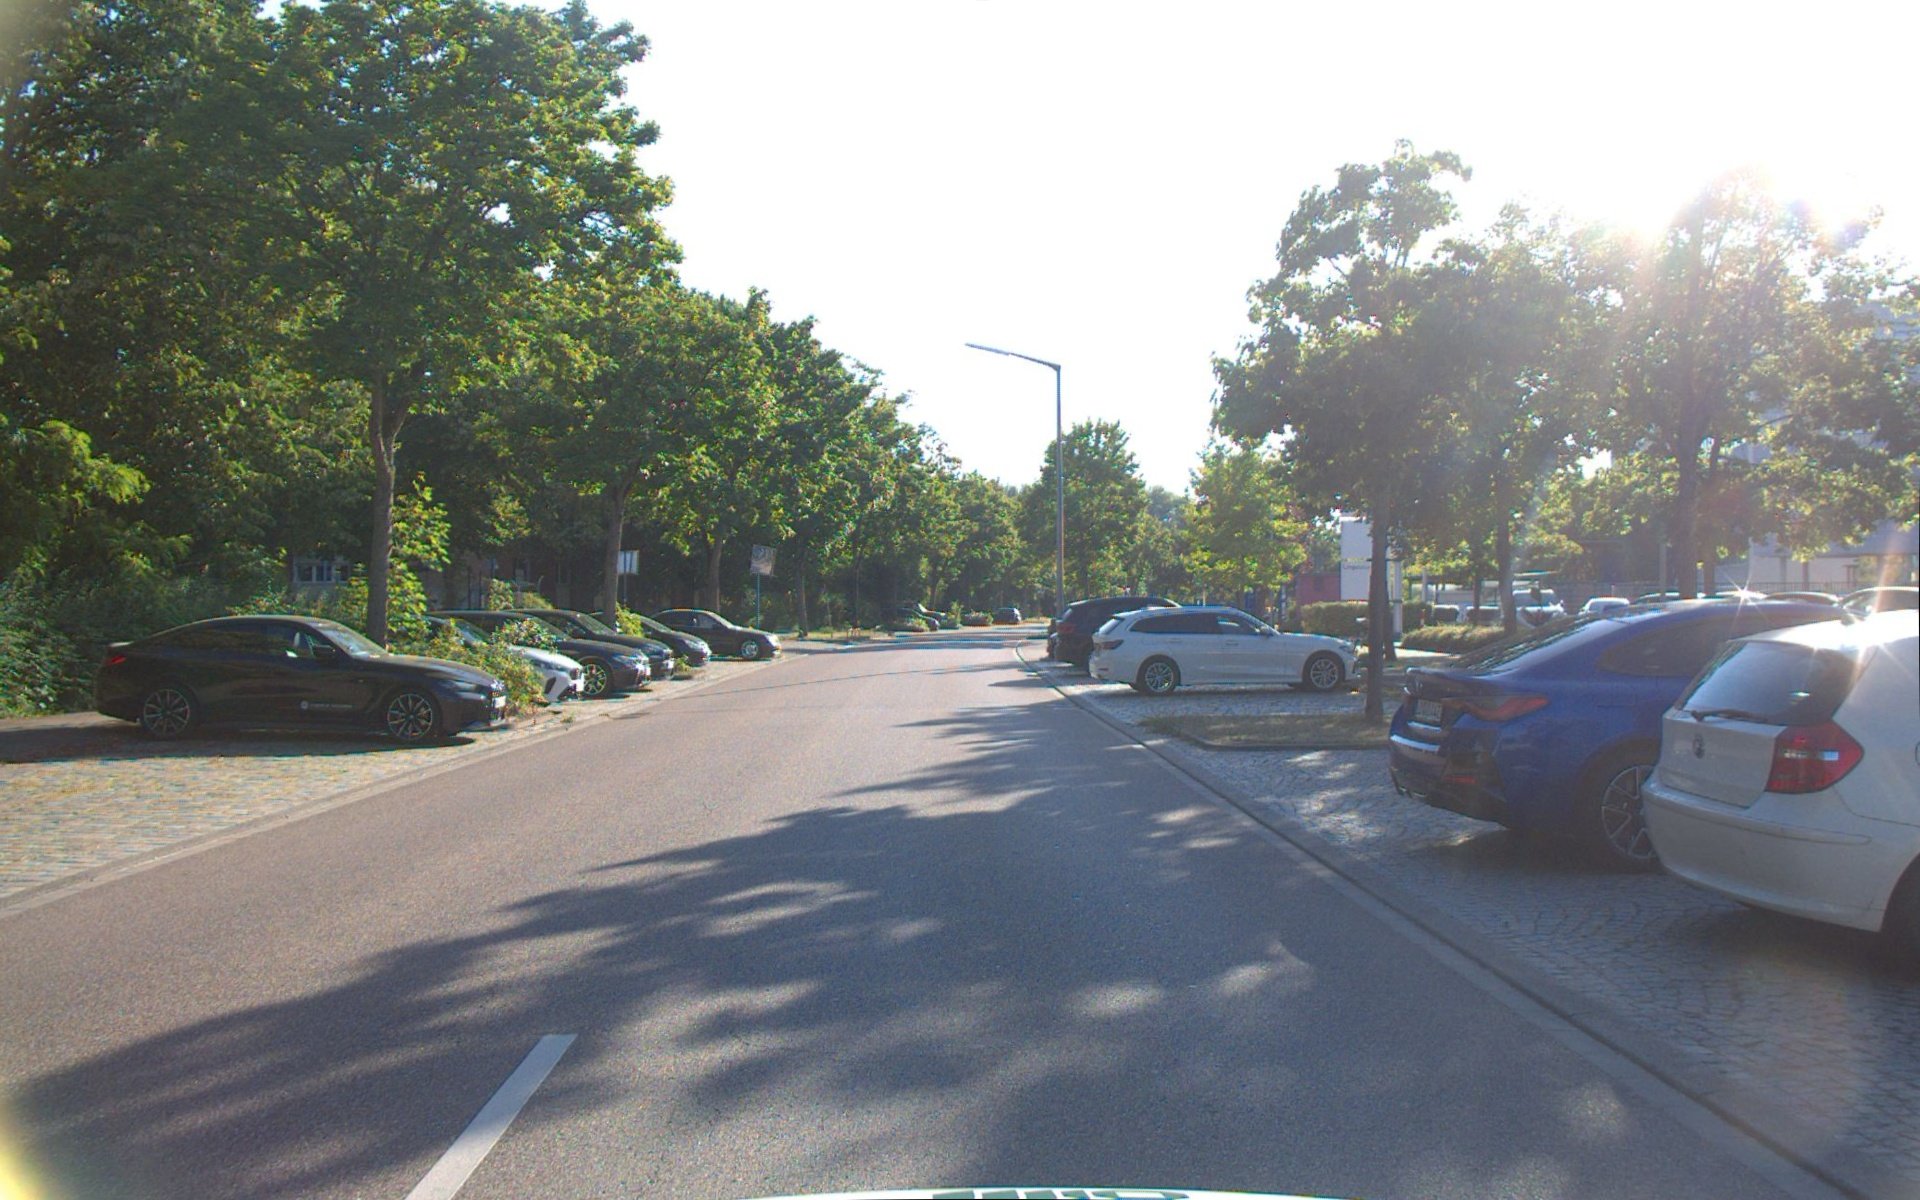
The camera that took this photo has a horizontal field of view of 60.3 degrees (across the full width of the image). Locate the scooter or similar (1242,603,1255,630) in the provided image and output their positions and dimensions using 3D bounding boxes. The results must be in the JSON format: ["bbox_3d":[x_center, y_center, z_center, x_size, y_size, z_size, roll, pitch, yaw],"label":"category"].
[{"bbox_3d":[14.036,0.808,80.480,0.509,1.294,1.201,0,0,5],"label":"scooter or similar"}]

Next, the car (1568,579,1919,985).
[{"bbox_3d":[5.223,0.630,7.321,4.287,1.505,1.999,-2,0,-1],"label":"car"}]

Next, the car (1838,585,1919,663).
[{"bbox_3d":[19.670,0.442,31.649,1.986,1.489,4.710,0,-1,-45],"label":"car"}]

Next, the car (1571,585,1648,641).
[{"bbox_3d":[22.640,0.429,57.826,1.988,1.860,4.564,-1,0,15],"label":"car"}]

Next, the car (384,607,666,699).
[{"bbox_3d":[-8.035,0.961,30.933,4.754,1.557,1.998,1,0,-4],"label":"car"}]

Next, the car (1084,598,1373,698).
[{"bbox_3d":[4.553,0.799,28.521,4.600,1.505,1.999,-2,0,-1],"label":"car"}]

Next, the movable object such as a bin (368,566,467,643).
[{"bbox_3d":[-19.946,0.185,60.724,2.140,2.711,4.743,0,0,-36],"label":"movable object such as a bin"}]

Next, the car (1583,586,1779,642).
[{"bbox_3d":[20.243,0.416,46.532,4.701,1.489,1.989,-1,-1,41],"label":"car"}]

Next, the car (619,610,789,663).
[{"bbox_3d":[-7.846,1.108,51.048,4.932,1.488,2.000,1,0,-1],"label":"car"}]

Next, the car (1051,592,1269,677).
[{"bbox_3d":[4.317,0.733,36.283,4.596,1.781,2.192,0,0,4],"label":"car"}]

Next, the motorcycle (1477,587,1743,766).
[{"bbox_3d":[5.856,0.655,14.930,2.089,1.491,0.945,-1,0,-17],"label":"motorcycle"}]

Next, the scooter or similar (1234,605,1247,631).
[{"bbox_3d":[13.909,0.874,81.947,0.509,1.294,1.388,-1,0,5],"label":"scooter or similar"}]

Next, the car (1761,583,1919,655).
[{"bbox_3d":[19.993,0.394,35.497,4.701,1.489,1.989,-1,-1,41],"label":"car"}]

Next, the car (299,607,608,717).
[{"bbox_3d":[-7.874,0.946,26.044,4.198,1.557,2.000,1,0,0],"label":"car"}]

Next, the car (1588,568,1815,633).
[{"bbox_3d":[18.055,0.033,40.381,4.701,1.489,1.989,-1,-1,41],"label":"car"}]

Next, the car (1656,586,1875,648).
[{"bbox_3d":[20.637,0.445,42.461,4.701,1.489,2.035,-1,-1,41],"label":"car"}]

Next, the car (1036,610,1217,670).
[{"bbox_3d":[4.187,0.994,42.090,4.390,1.428,2.033,0,0,-1],"label":"car"}]

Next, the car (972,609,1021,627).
[{"bbox_3d":[3.379,1.621,152.559,4.265,1.505,2.002,2,0,11],"label":"car"}]

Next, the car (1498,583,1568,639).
[{"bbox_3d":[20.210,0.374,58.520,1.988,1.860,4.980,-1,0,15],"label":"car"}]

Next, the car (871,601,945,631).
[{"bbox_3d":[-3.644,1.148,115.969,4.898,2.055,2.176,0,0,6],"label":"car"}]

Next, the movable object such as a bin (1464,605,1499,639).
[{"bbox_3d":[19.854,0.843,62.979,1.093,1.290,1.038,0,0,6],"label":"movable object such as a bin"}]

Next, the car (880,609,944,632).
[{"bbox_3d":[-3.254,1.375,112.027,4.122,1.557,1.707,0,0,6],"label":"car"}]

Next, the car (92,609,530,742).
[{"bbox_3d":[-7.779,0.891,20.201,4.556,1.446,1.915,1,0,-3],"label":"car"}]

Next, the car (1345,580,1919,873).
[{"bbox_3d":[4.857,0.660,10.040,4.531,1.481,1.999,-2,0,-1],"label":"car"}]

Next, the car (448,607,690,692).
[{"bbox_3d":[-7.841,0.973,33.494,4.388,1.557,2.000,1,0,-1],"label":"car"}]

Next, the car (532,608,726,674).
[{"bbox_3d":[-8.172,1.003,41.169,4.388,1.488,2.000,1,0,-1],"label":"car"}]
